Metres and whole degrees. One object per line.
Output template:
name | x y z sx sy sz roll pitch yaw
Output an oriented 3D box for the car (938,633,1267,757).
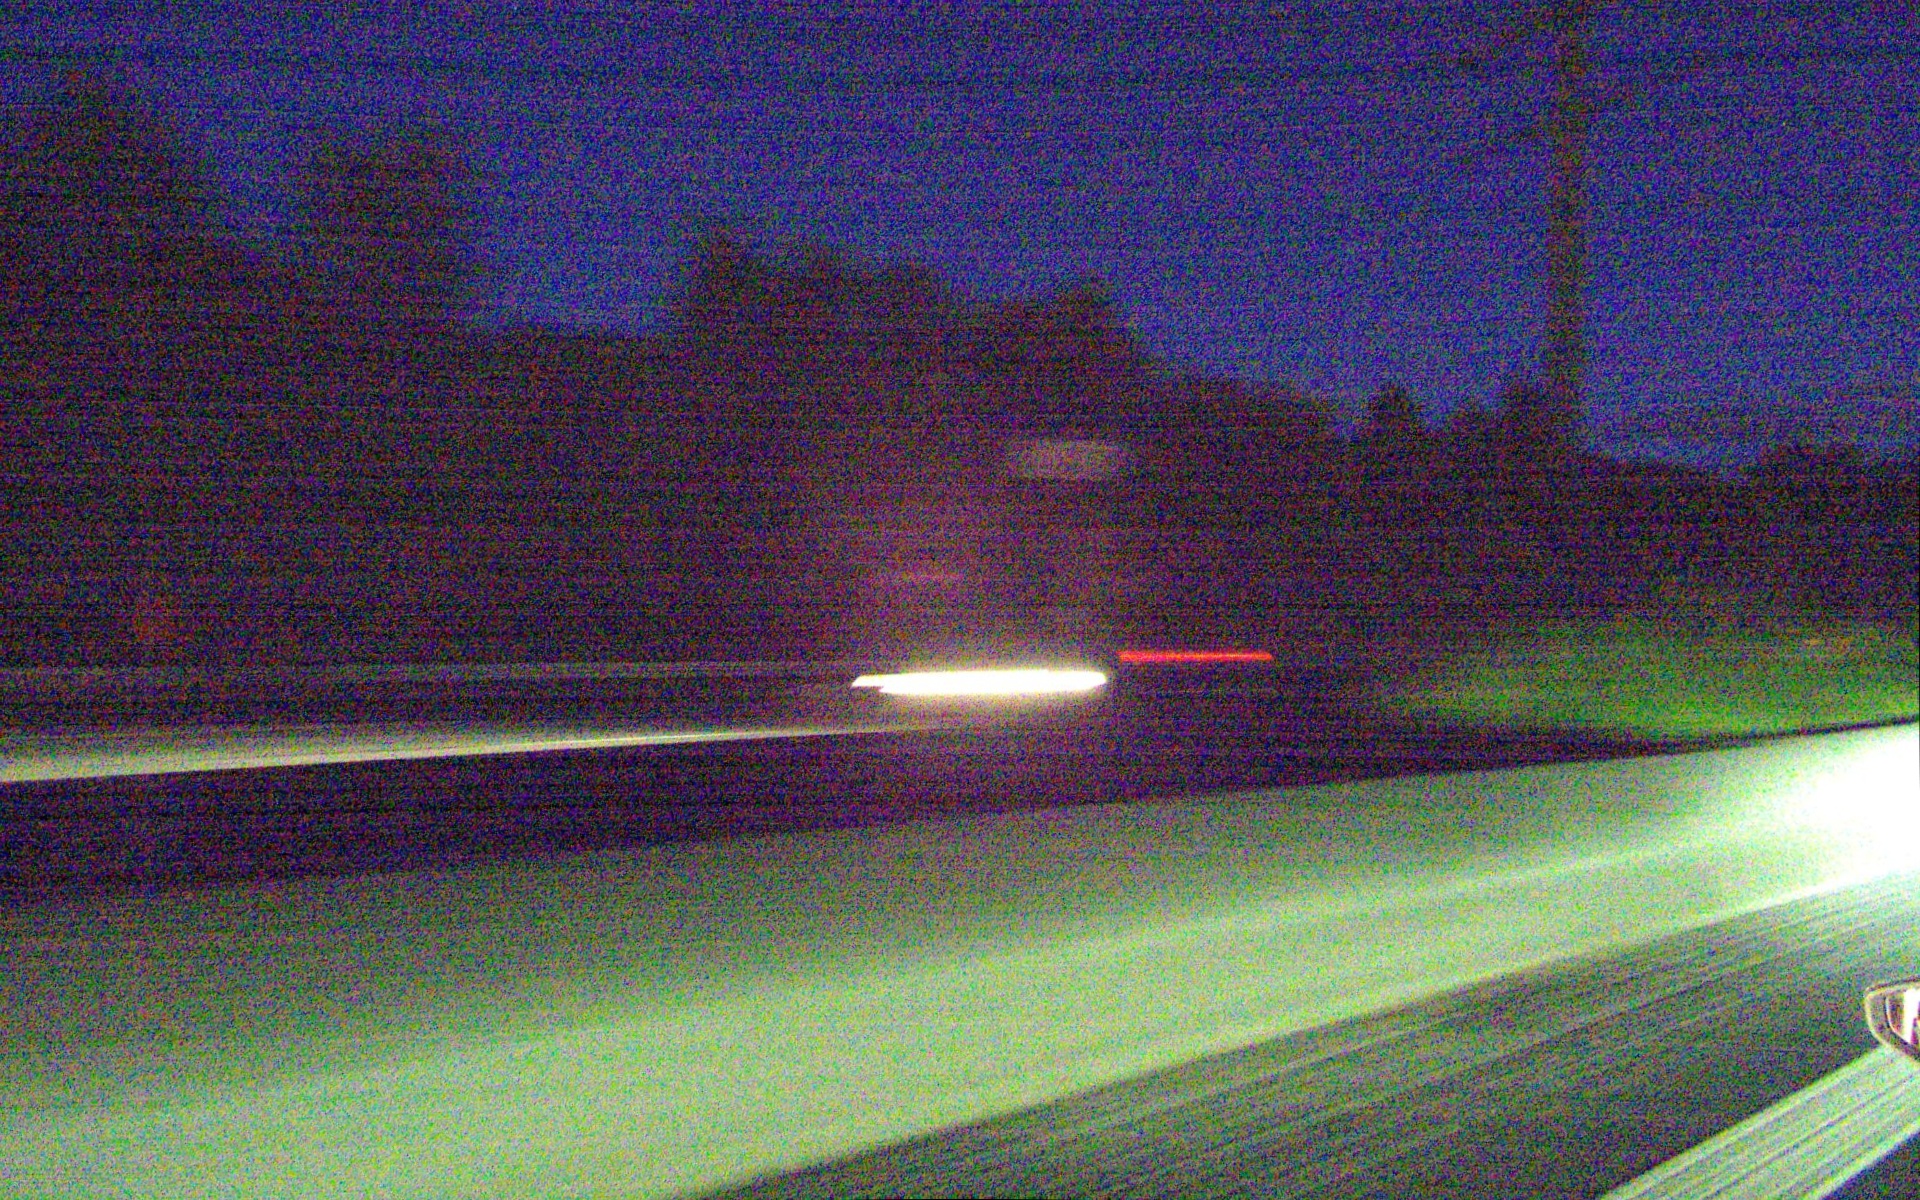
car | 2.072 1.236 14.108 4.530 1.498 1.741 2 -3 -31
